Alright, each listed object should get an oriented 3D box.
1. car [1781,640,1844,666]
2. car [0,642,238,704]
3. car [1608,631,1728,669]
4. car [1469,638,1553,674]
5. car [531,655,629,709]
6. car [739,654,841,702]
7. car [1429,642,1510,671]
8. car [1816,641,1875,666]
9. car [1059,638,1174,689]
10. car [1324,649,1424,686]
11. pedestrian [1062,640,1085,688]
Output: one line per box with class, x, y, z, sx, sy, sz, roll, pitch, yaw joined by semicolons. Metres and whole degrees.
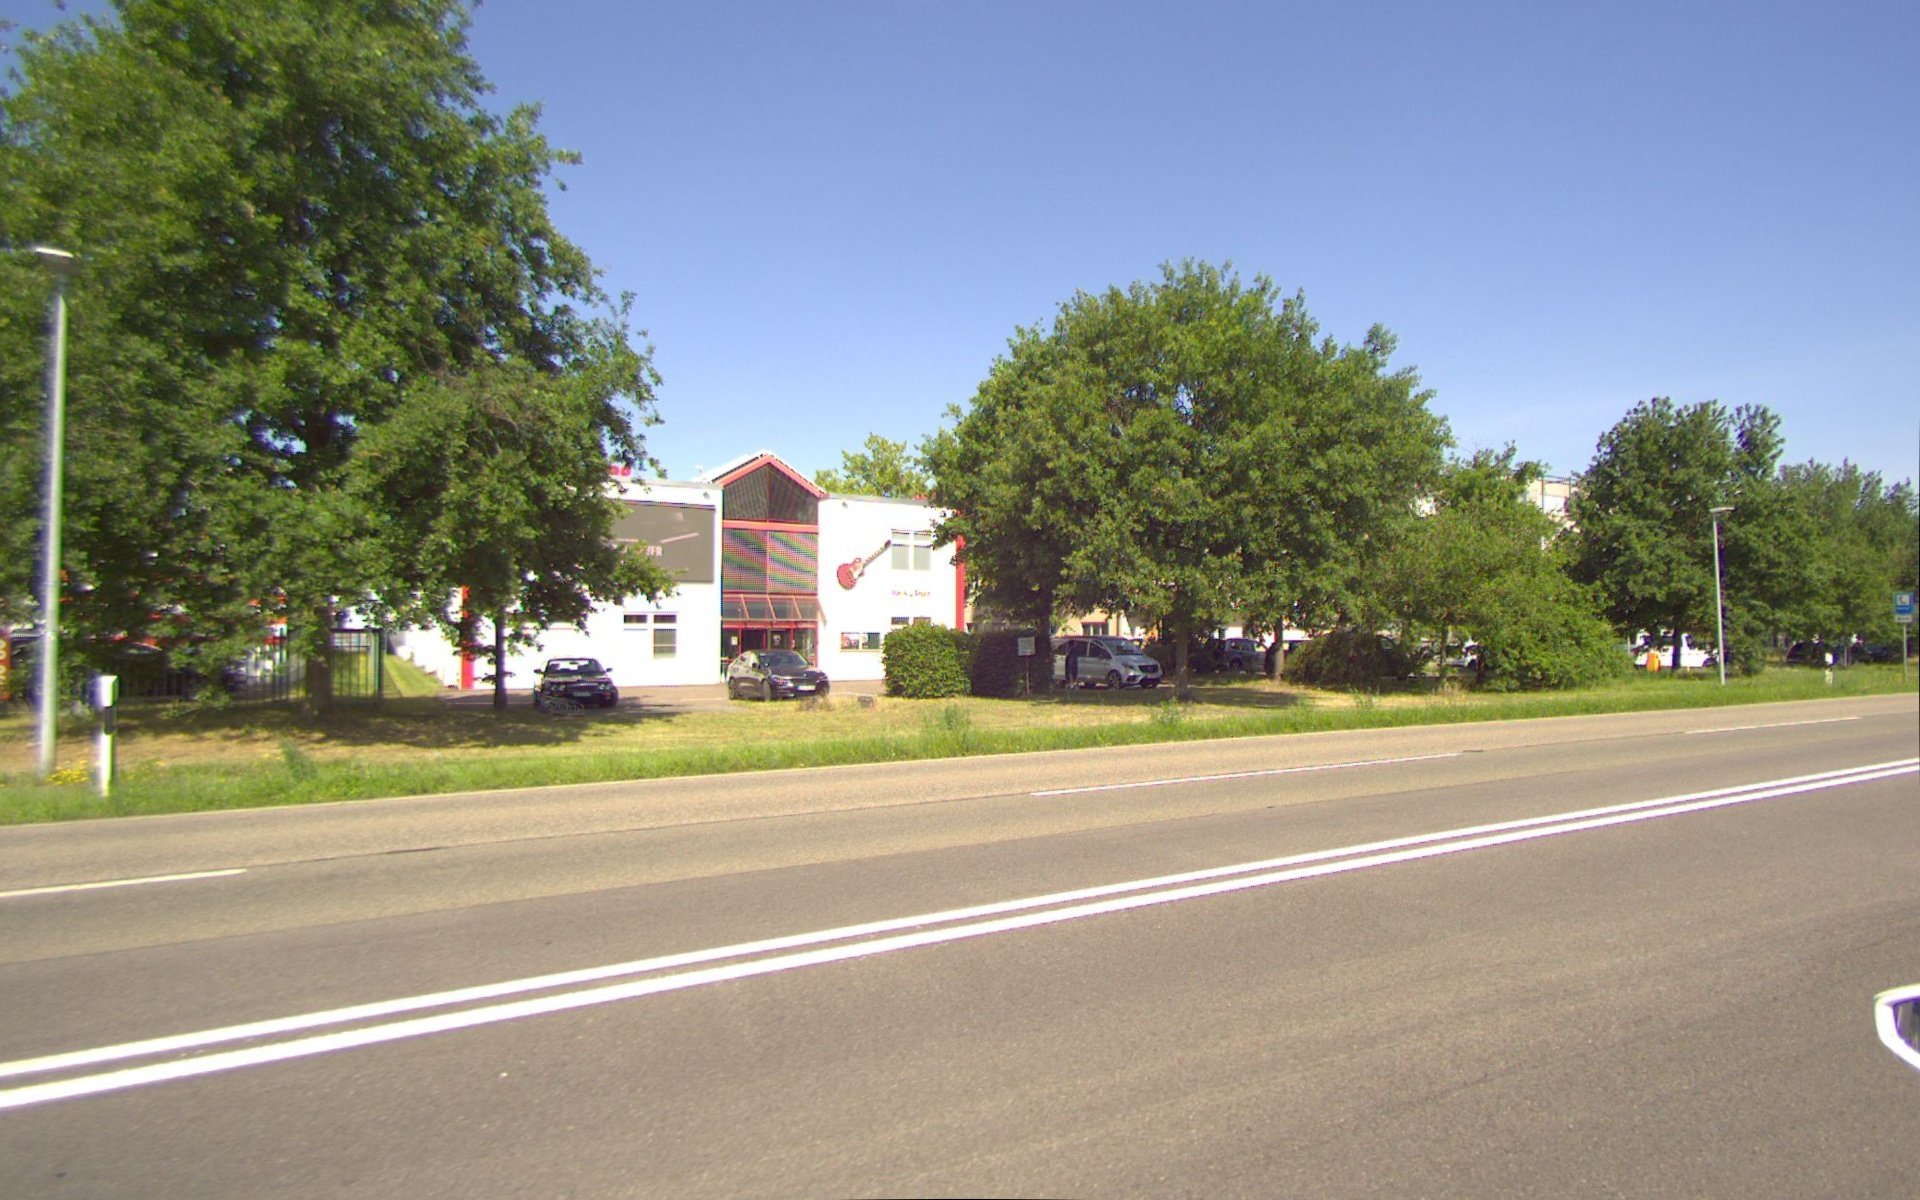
car;55.636;3.417;65.538;4.496;1.599;1.735;1;-2;-31
car;-20.057;1.679;23.838;4.613;1.367;1.777;1;-3;-33
car;37.343;2.620;53.077;4.916;1.954;2.074;1;-2;0
car;27.431;2.755;49.959;4.145;1.673;1.919;1;-2;-32
car;-10.415;2.235;27.347;1.835;1.342;4.332;2;-6;-30
car;-5.177;2.297;30.252;1.840;1.323;3.971;1;-4;-29
car;26.404;2.897;52.047;4.145;1.412;1.919;1;-2;-32
car;60.399;3.622;68.476;4.496;1.599;1.735;1;-2;-31
car;5.670;2.339;36.947;1.977;1.753;4.204;1;-4;-30
car;16.515;2.647;40.074;3.954;1.368;1.664;1;-2;-31
pedestrian;4.145;2.322;36.642;0.802;1.735;0.638;0;-2;9
